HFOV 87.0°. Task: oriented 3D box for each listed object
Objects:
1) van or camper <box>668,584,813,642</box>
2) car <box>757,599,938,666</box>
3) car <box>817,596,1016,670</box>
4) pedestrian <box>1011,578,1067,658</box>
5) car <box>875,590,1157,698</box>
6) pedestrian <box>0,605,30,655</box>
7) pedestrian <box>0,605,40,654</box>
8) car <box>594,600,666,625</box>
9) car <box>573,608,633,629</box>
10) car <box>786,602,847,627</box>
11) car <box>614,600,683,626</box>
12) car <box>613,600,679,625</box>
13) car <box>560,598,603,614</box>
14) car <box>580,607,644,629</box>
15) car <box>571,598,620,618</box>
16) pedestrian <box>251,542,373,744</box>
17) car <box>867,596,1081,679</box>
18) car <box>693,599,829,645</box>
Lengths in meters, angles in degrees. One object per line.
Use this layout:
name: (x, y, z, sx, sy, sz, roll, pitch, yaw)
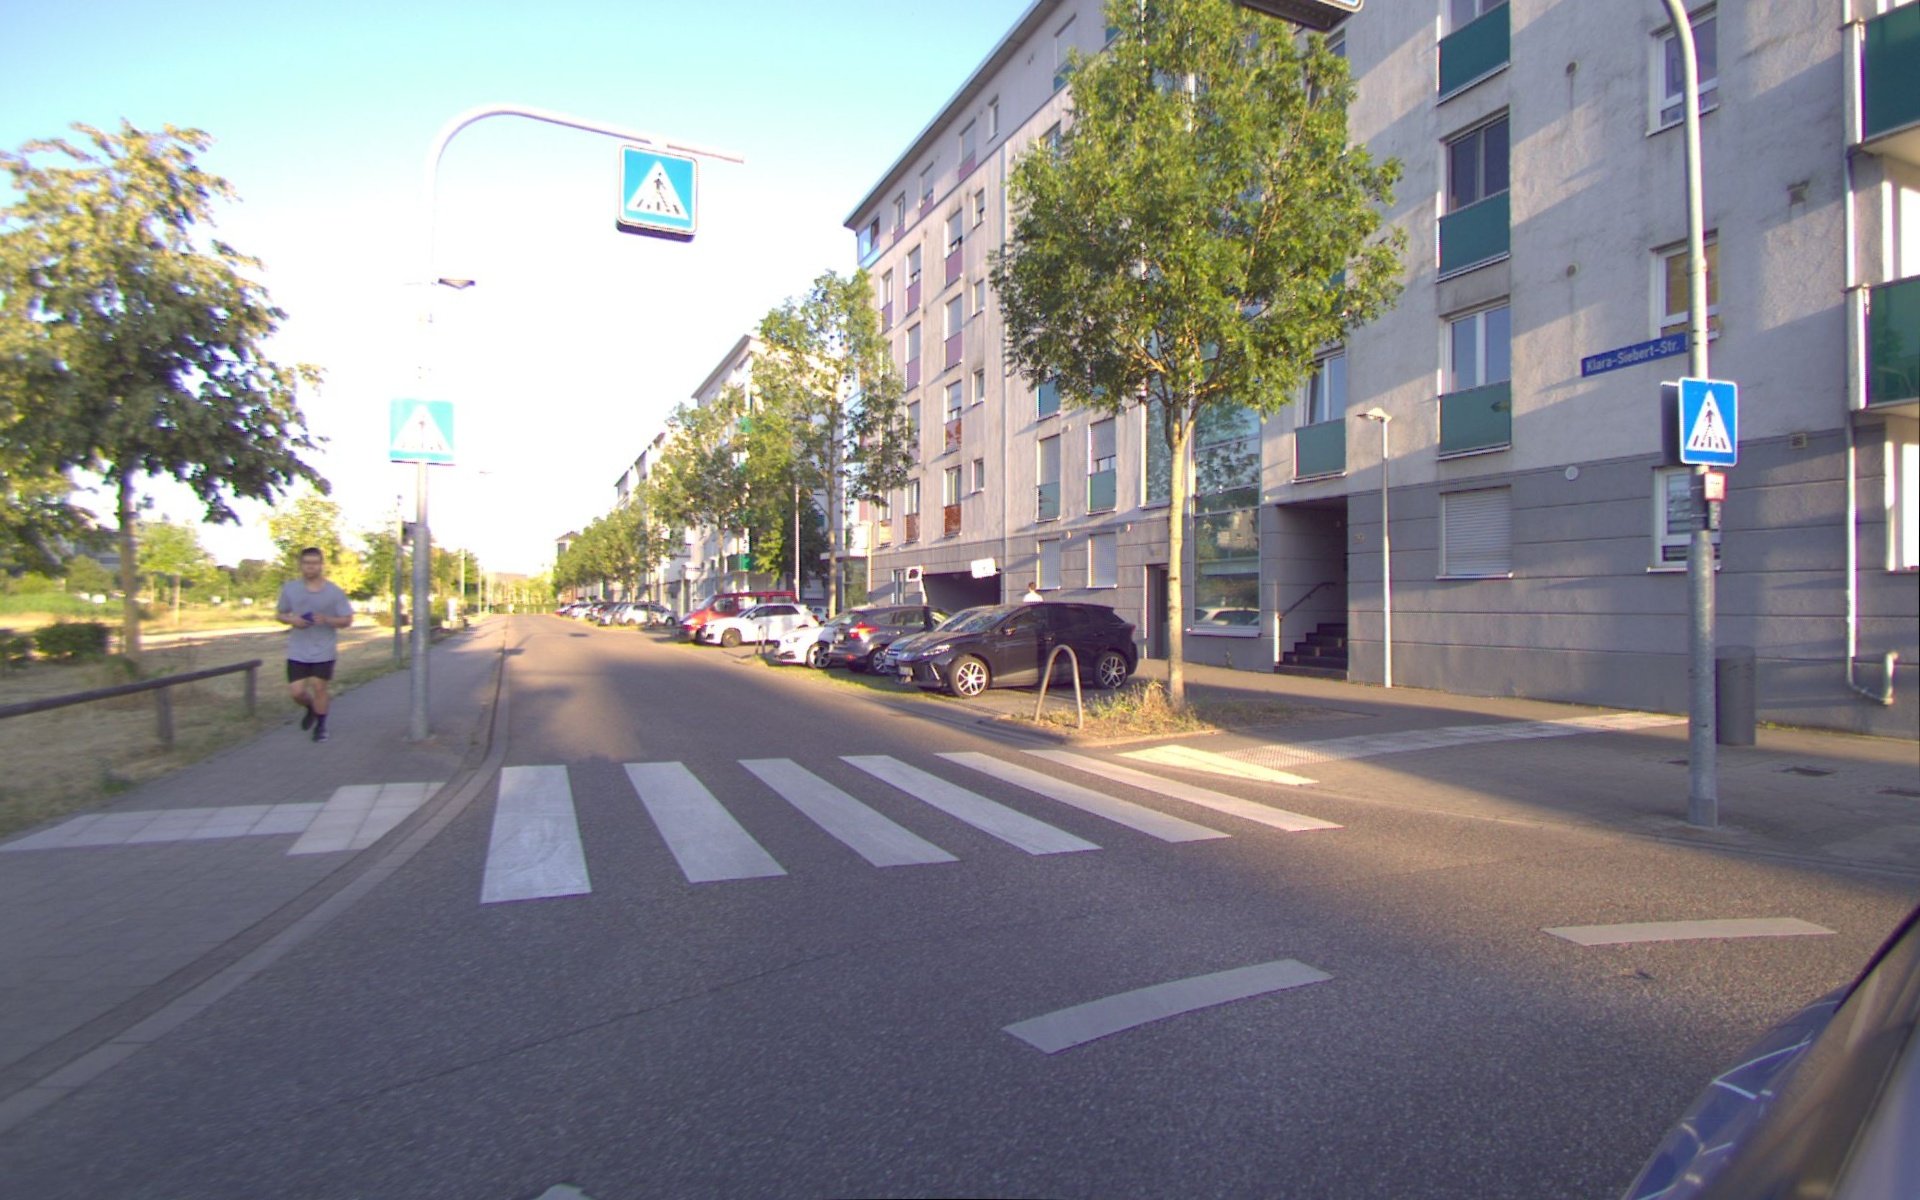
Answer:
van or camper: (-8.256, 0.505, 38.216, 5.026, 2.086, 1.880, 1, -1, -27)
car: (-2.688, 0.758, 24.307, 3.973, 1.498, 1.704, 1, -1, -26)
car: (-0.926, 0.703, 22.020, 3.973, 1.498, 1.704, 1, -1, -26)
pedestrian: (1.935, 0.436, 24.930, 0.959, 1.918, 1.051, 1, -1, -25)
car: (0.971, 0.661, 17.091, 4.390, 1.506, 1.836, -2, 1, -26)
pedestrian: (-19.633, 0.622, 20.910, 0.490, 1.017, 0.482, 1, -1, -30)
pedestrian: (-19.946, 0.623, 21.481, 0.490, 1.017, 0.572, 1, -1, -30)
car: (-22.311, 0.817, 68.347, 4.323, 1.613, 1.954, 1, -1, -28)
car: (-28.834, 1.486, 81.838, 4.322, 1.613, 1.954, 1, -1, -28)
car: (-8.782, 0.882, 61.746, 3.501, 1.487, 1.594, 0, -1, 33)
car: (-19.611, 0.815, 63.738, 3.875, 1.613, 1.781, 1, -1, -28)
car: (-20.508, 0.824, 66.104, 3.875, 1.613, 1.781, 1, -1, -28)
car: (-42.958, 0.729, 114.933, 4.323, 1.749, 1.954, 1, -1, -29)
car: (-26.619, 1.387, 77.450, 4.322, 1.613, 1.954, 1, -1, -28)
car: (-36.276, 0.798, 100.737, 4.323, 1.862, 1.954, 1, -1, -29)
pedestrian: (-5.924, 0.383, 9.297, 0.751, 1.752, 0.803, 1, -1, -20)
car: (0.292, 0.684, 20.065, 3.924, 1.391, 1.562, -2, 0, -26)
car: (-6.967, 0.777, 35.506, 4.375, 1.540, 1.704, 1, -1, -26)
